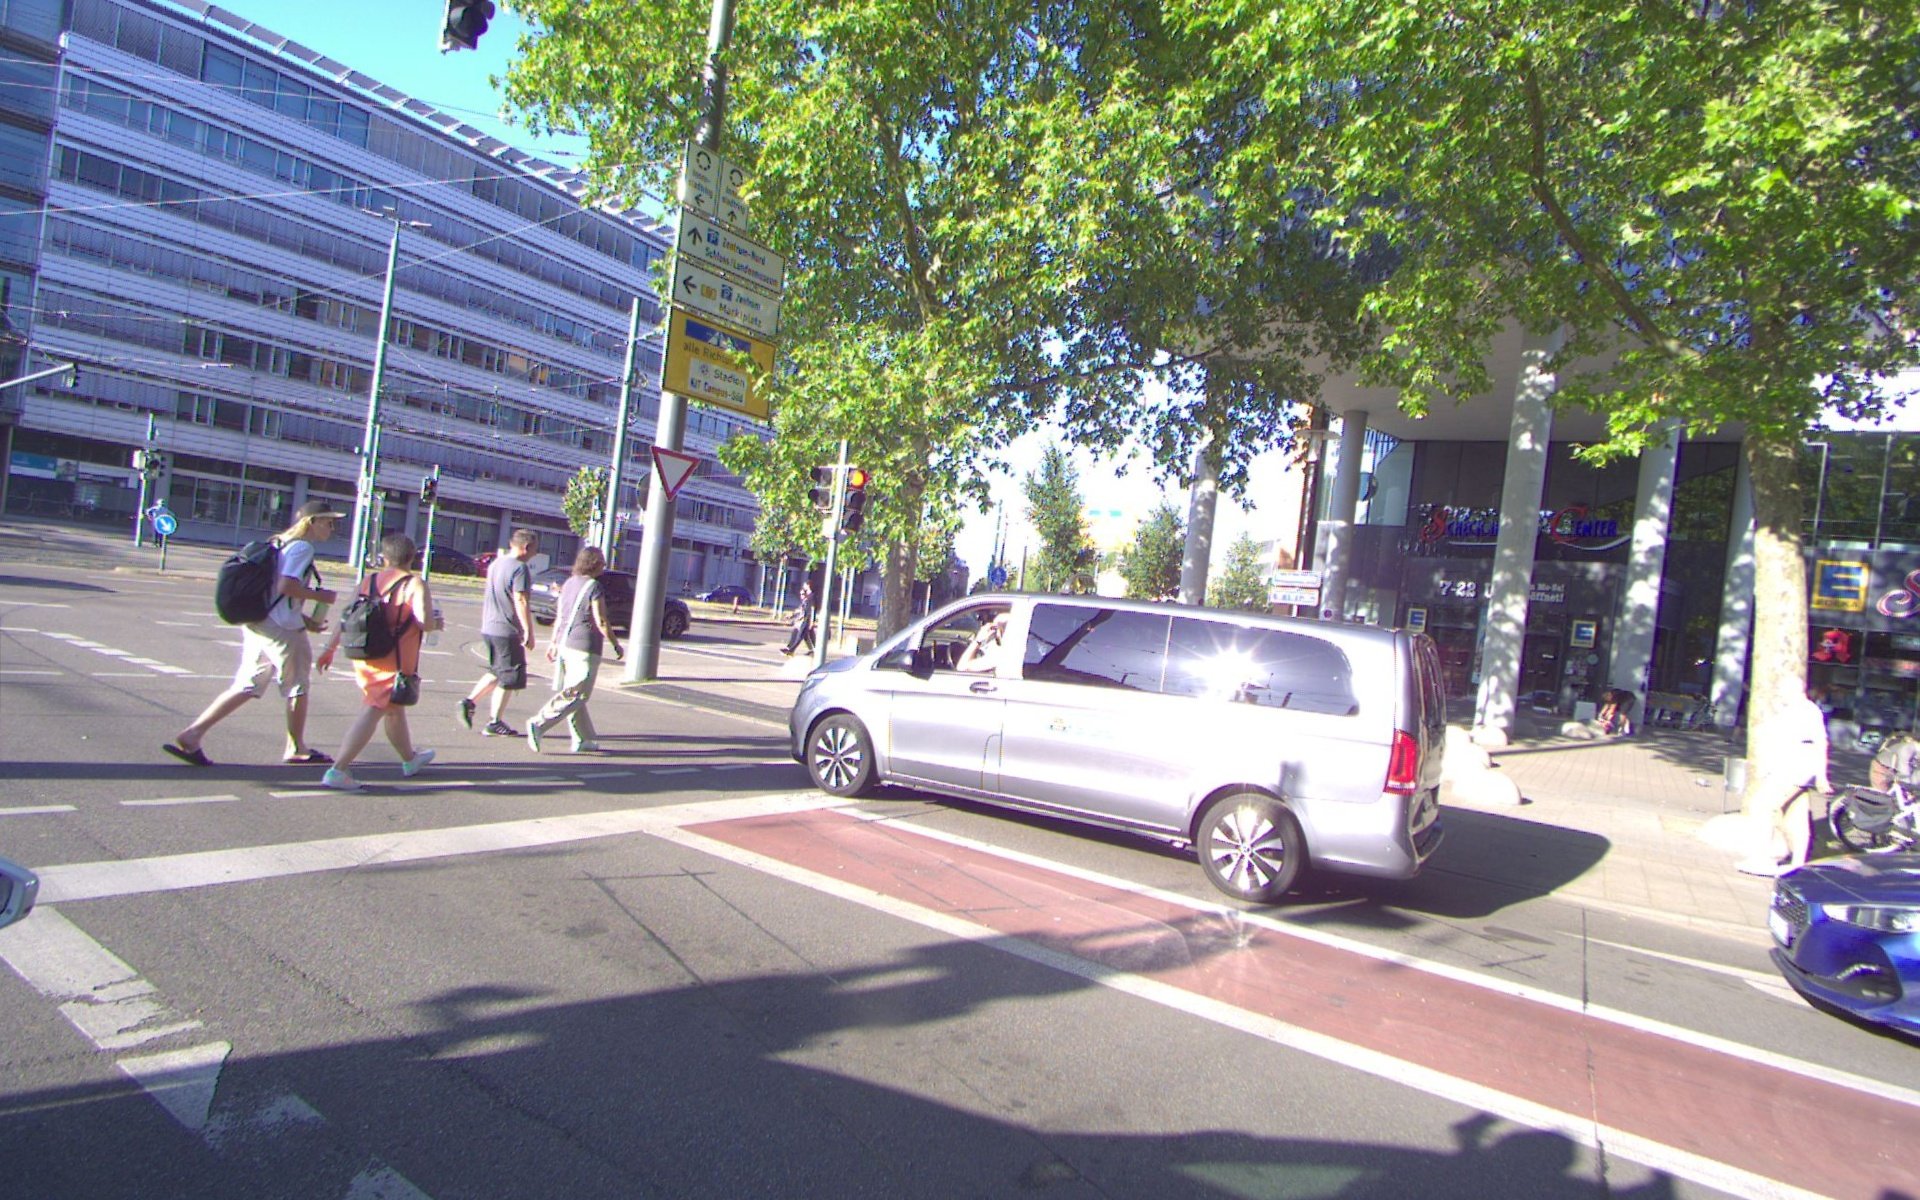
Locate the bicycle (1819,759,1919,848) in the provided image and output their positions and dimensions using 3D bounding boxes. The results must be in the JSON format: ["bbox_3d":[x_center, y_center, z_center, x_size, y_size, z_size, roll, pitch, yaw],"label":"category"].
[{"bbox_3d":[12.499,2.708,12.839,0.661,0.945,2.167,7,0,-30],"label":"bicycle"}]

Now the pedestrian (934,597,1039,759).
[{"bbox_3d":[0.328,0.900,11.691,0.617,1.735,1.076,7,-1,28],"label":"pedestrian"}]

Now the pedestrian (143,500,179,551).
[{"bbox_3d":[-28.555,-2.647,35.954,0.549,1.701,0.719,7,-1,39],"label":"pedestrian"}]

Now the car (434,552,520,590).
[{"bbox_3d":[-25.585,-1.514,53.342,1.768,1.484,3.597,7,0,36],"label":"car"}]

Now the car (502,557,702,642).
[{"bbox_3d":[-8.731,0.050,24.953,1.794,1.602,4.491,7,-1,29],"label":"car"}]

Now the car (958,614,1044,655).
[{"bbox_3d":[1.931,1.605,45.844,1.969,1.474,3.954,7,0,35],"label":"car"}]

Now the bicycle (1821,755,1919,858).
[{"bbox_3d":[11.226,2.493,12.015,0.393,1.038,1.305,6,1,-42],"label":"bicycle"}]

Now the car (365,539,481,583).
[{"bbox_3d":[-24.226,-1.746,45.509,1.768,1.409,4.241,7,0,36],"label":"car"}]

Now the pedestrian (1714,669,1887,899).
[{"bbox_3d":[7.379,1.566,8.893,0.794,1.808,0.874,7,1,25],"label":"pedestrian"}]

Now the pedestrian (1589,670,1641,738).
[{"bbox_3d":[17.478,2.769,26.862,0.952,1.662,0.864,7,1,32],"label":"pedestrian"}]

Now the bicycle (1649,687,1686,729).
[{"bbox_3d":[21.792,3.326,30.984,0.709,1.142,1.912,7,0,39],"label":"bicycle"}]

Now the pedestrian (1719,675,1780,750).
[{"bbox_3d":[21.201,3.024,27.007,0.990,1.867,0.844,6,1,-33],"label":"pedestrian"}]

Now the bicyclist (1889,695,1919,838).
[{"bbox_3d":[12.597,2.169,12.780,0.745,1.790,0.845,6,1,-31],"label":"bicyclist"}]

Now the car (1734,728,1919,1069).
[{"bbox_3d":[6.435,1.714,4.702,4.147,1.482,1.767,7,0,32],"label":"car"}]

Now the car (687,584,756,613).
[{"bbox_3d":[-15.741,-0.080,66.553,1.948,1.364,3.983,7,0,40],"label":"car"}]

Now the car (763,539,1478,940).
[{"bbox_3d":[1.105,0.823,8.001,5.053,1.988,1.997,7,-2,32],"label":"car"}]

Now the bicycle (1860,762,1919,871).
[{"bbox_3d":[10.522,2.362,10.476,1.545,1.038,0.461,7,1,29],"label":"bicycle"}]

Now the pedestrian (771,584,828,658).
[{"bbox_3d":[-3.948,0.520,24.830,0.855,1.701,0.845,7,-1,39],"label":"pedestrian"}]

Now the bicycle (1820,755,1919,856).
[{"bbox_3d":[11.550,2.555,12.410,0.393,1.038,1.305,6,1,-42],"label":"bicycle"}]

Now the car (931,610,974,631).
[{"bbox_3d":[-0.635,1.850,88.980,1.731,1.415,3.990,7,0,33],"label":"car"}]

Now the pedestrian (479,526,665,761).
[{"bbox_3d":[-3.297,0.384,8.633,0.744,1.827,1.075,7,-1,25],"label":"pedestrian"}]

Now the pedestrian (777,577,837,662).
[{"bbox_3d":[-3.586,0.450,23.571,0.855,1.841,0.845,7,-1,39],"label":"pedestrian"}]

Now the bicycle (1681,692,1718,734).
[{"bbox_3d":[22.410,3.416,30.463,0.709,1.142,1.912,7,0,39],"label":"bicycle"}]

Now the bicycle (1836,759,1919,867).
[{"bbox_3d":[10.733,2.413,11.027,1.545,1.038,0.461,7,1,29],"label":"bicycle"}]

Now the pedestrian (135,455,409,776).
[{"bbox_3d":[-4.483,0.117,6.623,0.725,1.893,1.077,7,-1,25],"label":"pedestrian"}]

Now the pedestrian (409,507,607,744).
[{"bbox_3d":[-4.001,0.247,8.985,0.818,1.915,1.149,7,-1,25],"label":"pedestrian"}]

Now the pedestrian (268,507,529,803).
[{"bbox_3d":[-3.607,0.354,6.542,0.744,1.701,1.076,7,-1,25],"label":"pedestrian"}]
